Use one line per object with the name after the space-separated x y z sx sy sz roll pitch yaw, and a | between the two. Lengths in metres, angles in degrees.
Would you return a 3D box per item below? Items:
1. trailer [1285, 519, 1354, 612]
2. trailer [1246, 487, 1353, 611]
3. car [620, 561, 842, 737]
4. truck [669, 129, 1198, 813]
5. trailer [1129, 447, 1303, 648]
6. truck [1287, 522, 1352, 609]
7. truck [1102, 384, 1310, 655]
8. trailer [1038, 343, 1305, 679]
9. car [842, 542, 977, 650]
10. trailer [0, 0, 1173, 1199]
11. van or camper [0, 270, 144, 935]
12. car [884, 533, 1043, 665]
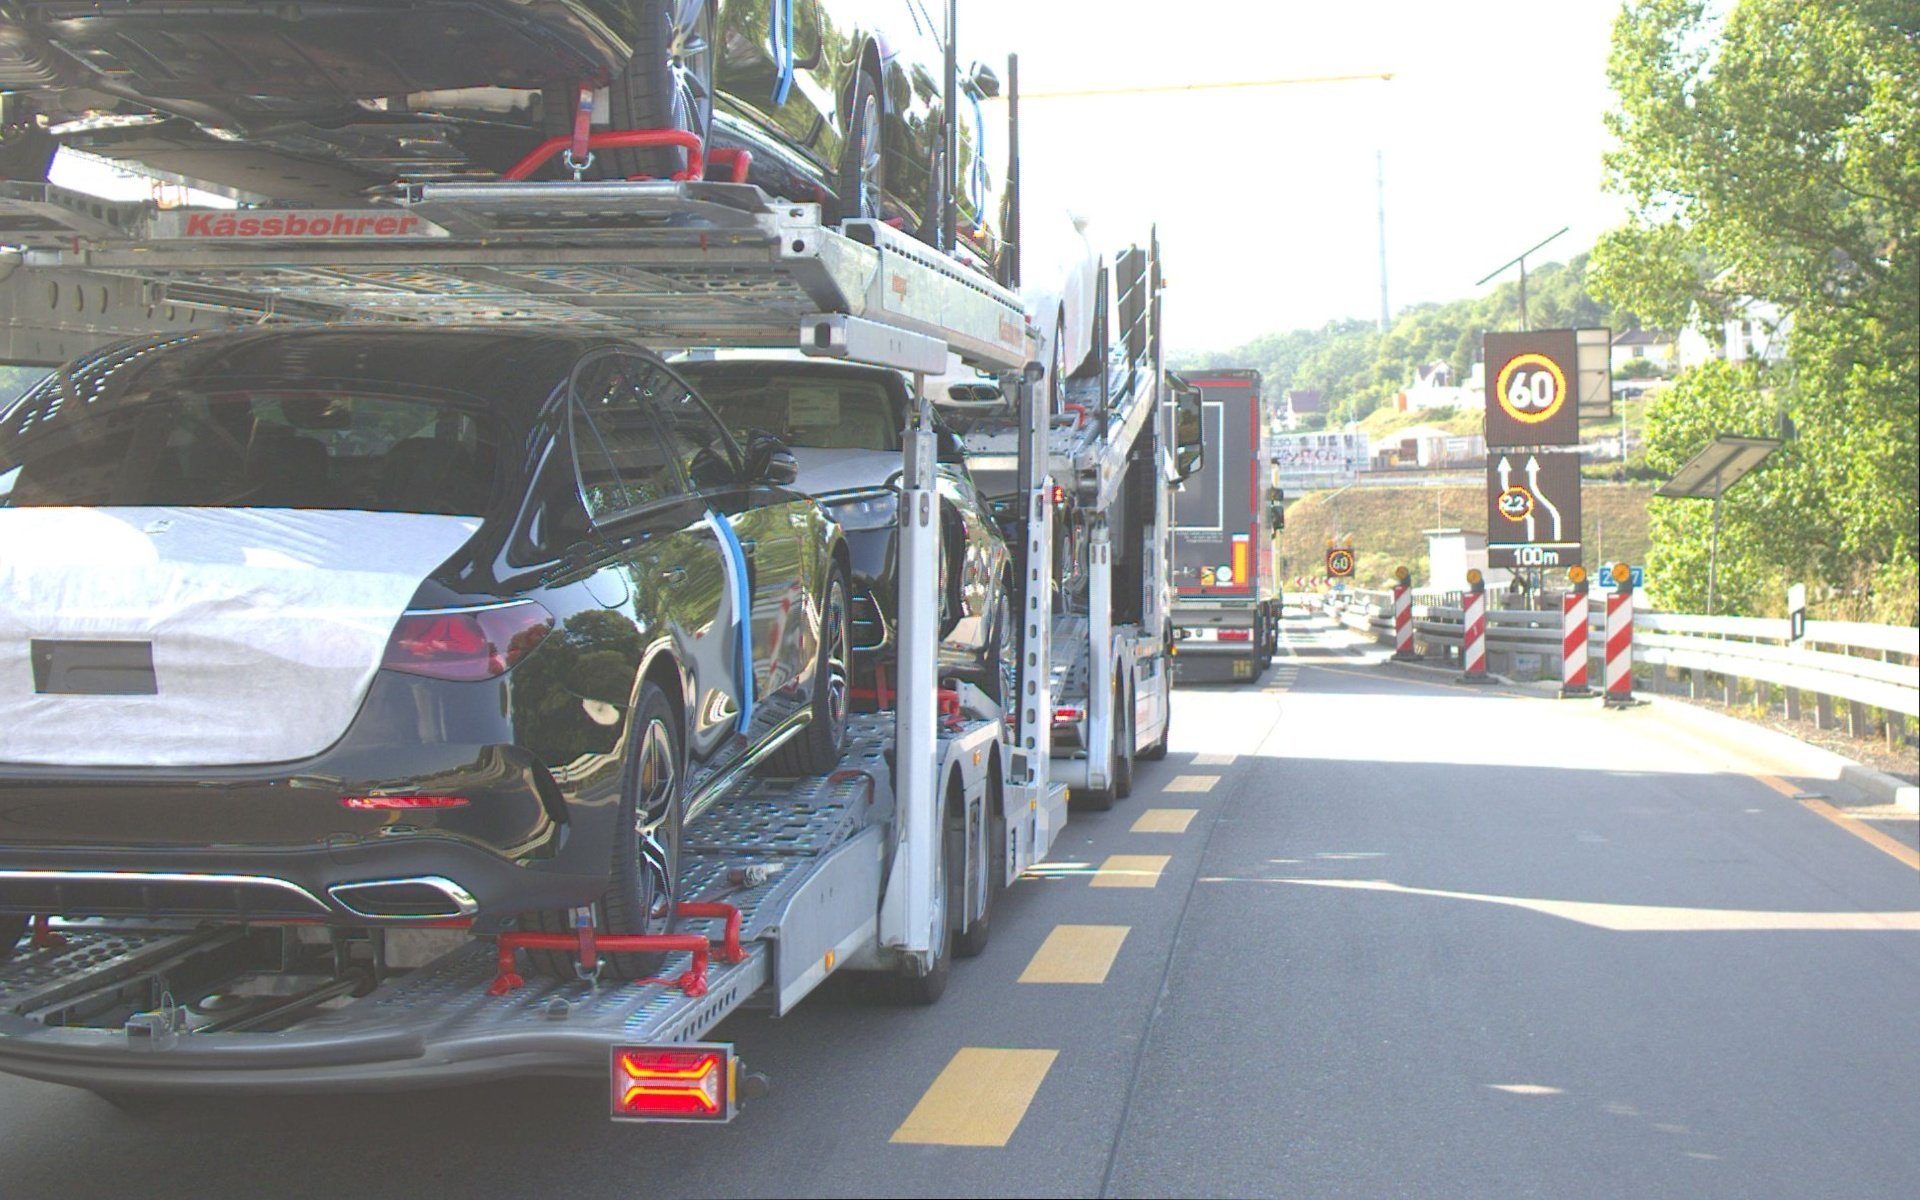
17.484 -1.706 167.289 3.104 4.299 14.249 -1 1 6 | trailer
11.807 -1.752 119.389 3.385 3.983 14.742 -1 1 6 | trailer
-2.448 0.484 37.668 1.830 1.746 4.000 -2 1 4 | car
0.063 -0.793 23.639 2.849 3.983 6.623 -1 1 6 | truck
5.890 -1.152 76.571 3.385 3.983 14.742 -1 1 6 | trailer
18.277 -1.756 174.879 3.098 4.271 6.623 -1 1 6 | truck
4.006 -1.246 54.705 2.886 3.983 6.623 -1 1 7 | truck
3.170 -1.175 48.257 2.959 4.078 10.790 -2 1 7 | trailer
-0.798 -0.093 56.762 1.830 1.648 4.000 -2 1 4 | car
-0.881 -0.663 14.625 2.858 3.983 15.743 -1 1 6 | trailer
-4.920 0.037 12.233 1.994 2.611 5.902 -1 1 7 | van or camper
0.096 -0.040 46.838 1.830 1.648 4.000 -2 1 4 | car
